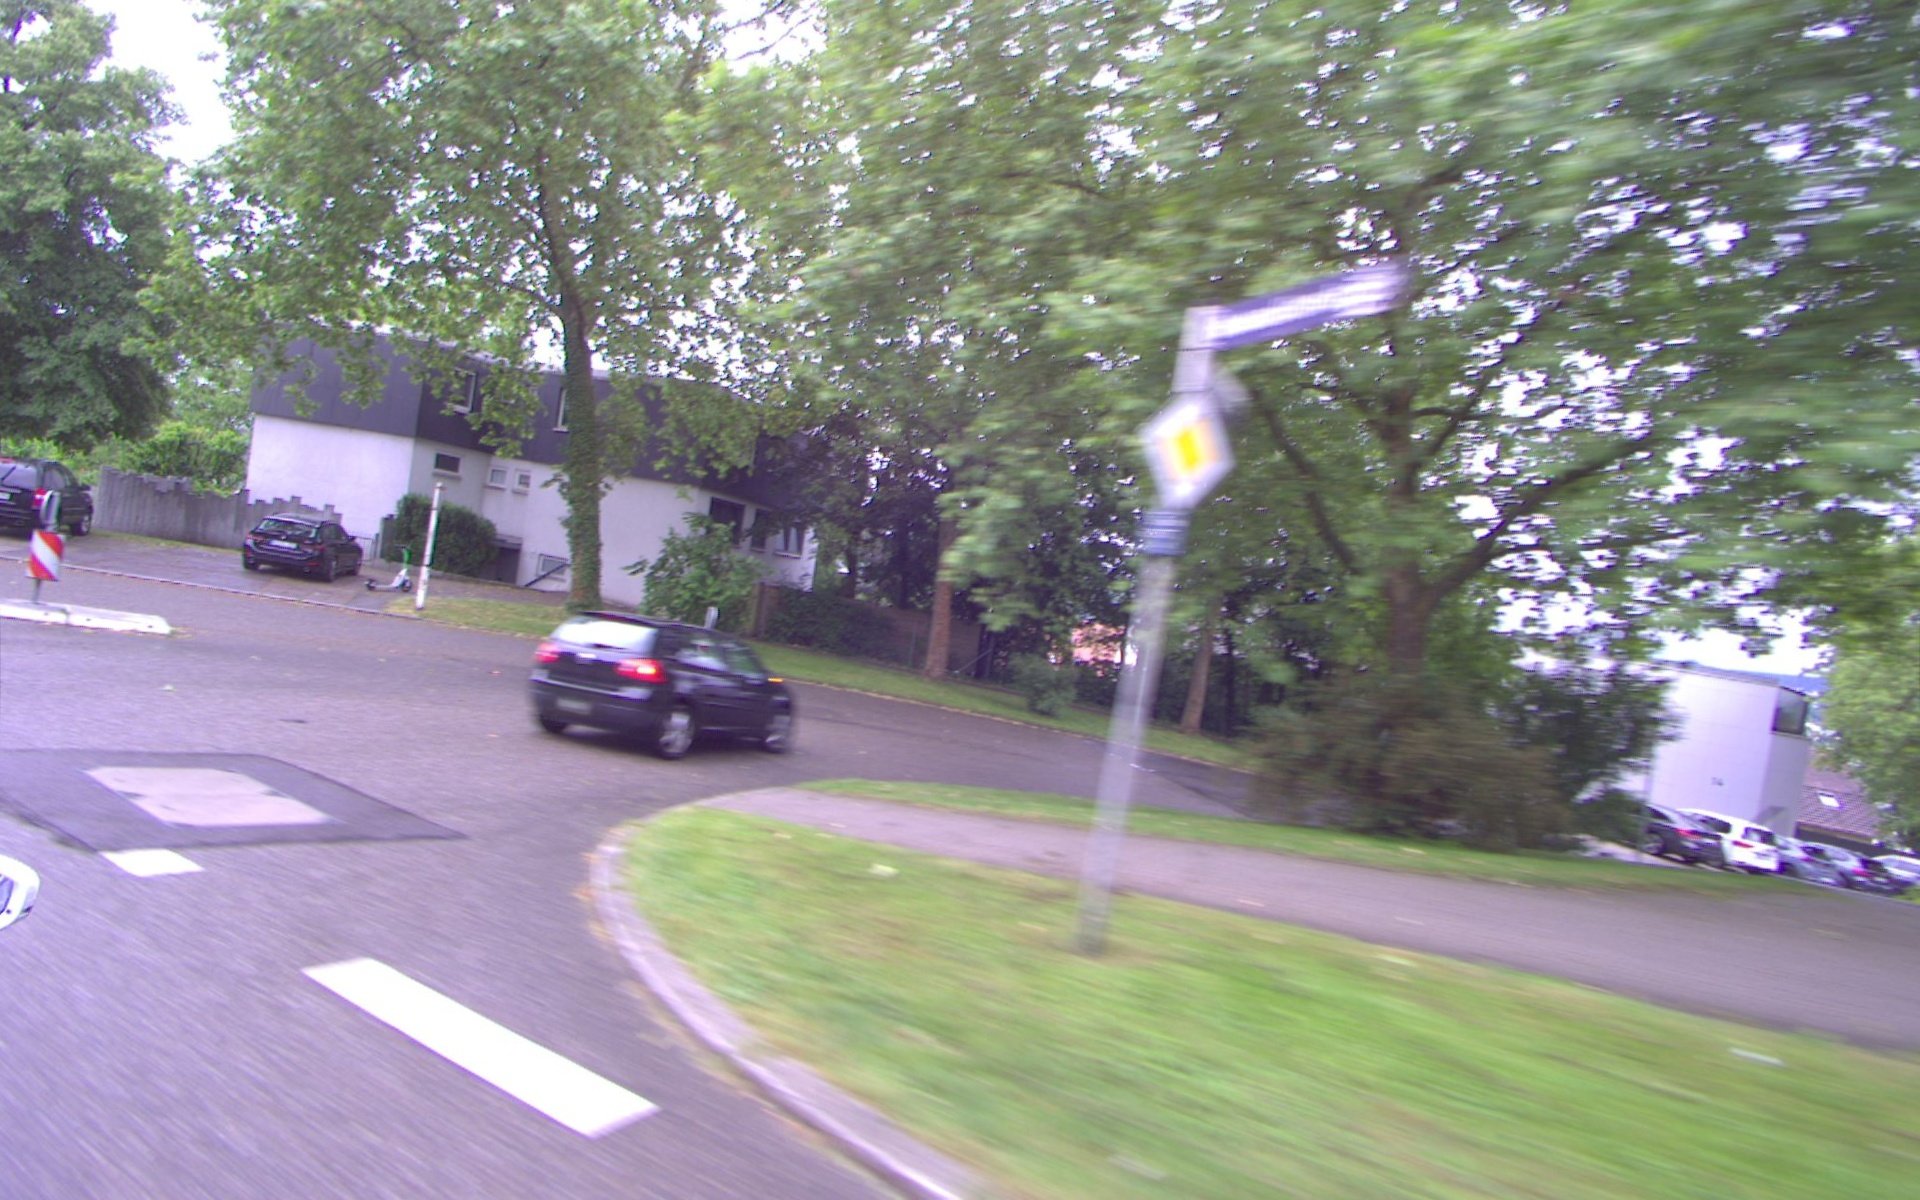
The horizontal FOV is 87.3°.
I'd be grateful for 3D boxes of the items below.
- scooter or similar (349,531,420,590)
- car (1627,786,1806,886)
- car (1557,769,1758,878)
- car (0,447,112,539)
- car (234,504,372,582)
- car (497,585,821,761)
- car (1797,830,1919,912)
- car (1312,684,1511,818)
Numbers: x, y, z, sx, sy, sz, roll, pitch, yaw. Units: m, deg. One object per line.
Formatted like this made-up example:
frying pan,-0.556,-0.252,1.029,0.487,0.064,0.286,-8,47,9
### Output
scooter or similar,-14.090,-0.952,24.672,0.552,1.301,1.338,6,0,26
car,24.950,7.736,33.403,2.054,1.863,4.291,9,2,-10
car,22.341,7.109,32.504,2.325,1.861,4.691,13,1,-15
car,-21.148,-2.481,22.756,1.934,1.710,4.862,9,0,-30
car,-16.315,-1.459,25.230,1.734,1.487,4.541,10,1,-21
car,-3.366,0.948,12.186,1.695,1.478,4.010,11,-3,15
car,32.179,9.467,34.816,2.319,1.860,4.299,9,-2,-10
car,13.995,4.582,31.810,2.319,2.708,6.129,9,2,-10
